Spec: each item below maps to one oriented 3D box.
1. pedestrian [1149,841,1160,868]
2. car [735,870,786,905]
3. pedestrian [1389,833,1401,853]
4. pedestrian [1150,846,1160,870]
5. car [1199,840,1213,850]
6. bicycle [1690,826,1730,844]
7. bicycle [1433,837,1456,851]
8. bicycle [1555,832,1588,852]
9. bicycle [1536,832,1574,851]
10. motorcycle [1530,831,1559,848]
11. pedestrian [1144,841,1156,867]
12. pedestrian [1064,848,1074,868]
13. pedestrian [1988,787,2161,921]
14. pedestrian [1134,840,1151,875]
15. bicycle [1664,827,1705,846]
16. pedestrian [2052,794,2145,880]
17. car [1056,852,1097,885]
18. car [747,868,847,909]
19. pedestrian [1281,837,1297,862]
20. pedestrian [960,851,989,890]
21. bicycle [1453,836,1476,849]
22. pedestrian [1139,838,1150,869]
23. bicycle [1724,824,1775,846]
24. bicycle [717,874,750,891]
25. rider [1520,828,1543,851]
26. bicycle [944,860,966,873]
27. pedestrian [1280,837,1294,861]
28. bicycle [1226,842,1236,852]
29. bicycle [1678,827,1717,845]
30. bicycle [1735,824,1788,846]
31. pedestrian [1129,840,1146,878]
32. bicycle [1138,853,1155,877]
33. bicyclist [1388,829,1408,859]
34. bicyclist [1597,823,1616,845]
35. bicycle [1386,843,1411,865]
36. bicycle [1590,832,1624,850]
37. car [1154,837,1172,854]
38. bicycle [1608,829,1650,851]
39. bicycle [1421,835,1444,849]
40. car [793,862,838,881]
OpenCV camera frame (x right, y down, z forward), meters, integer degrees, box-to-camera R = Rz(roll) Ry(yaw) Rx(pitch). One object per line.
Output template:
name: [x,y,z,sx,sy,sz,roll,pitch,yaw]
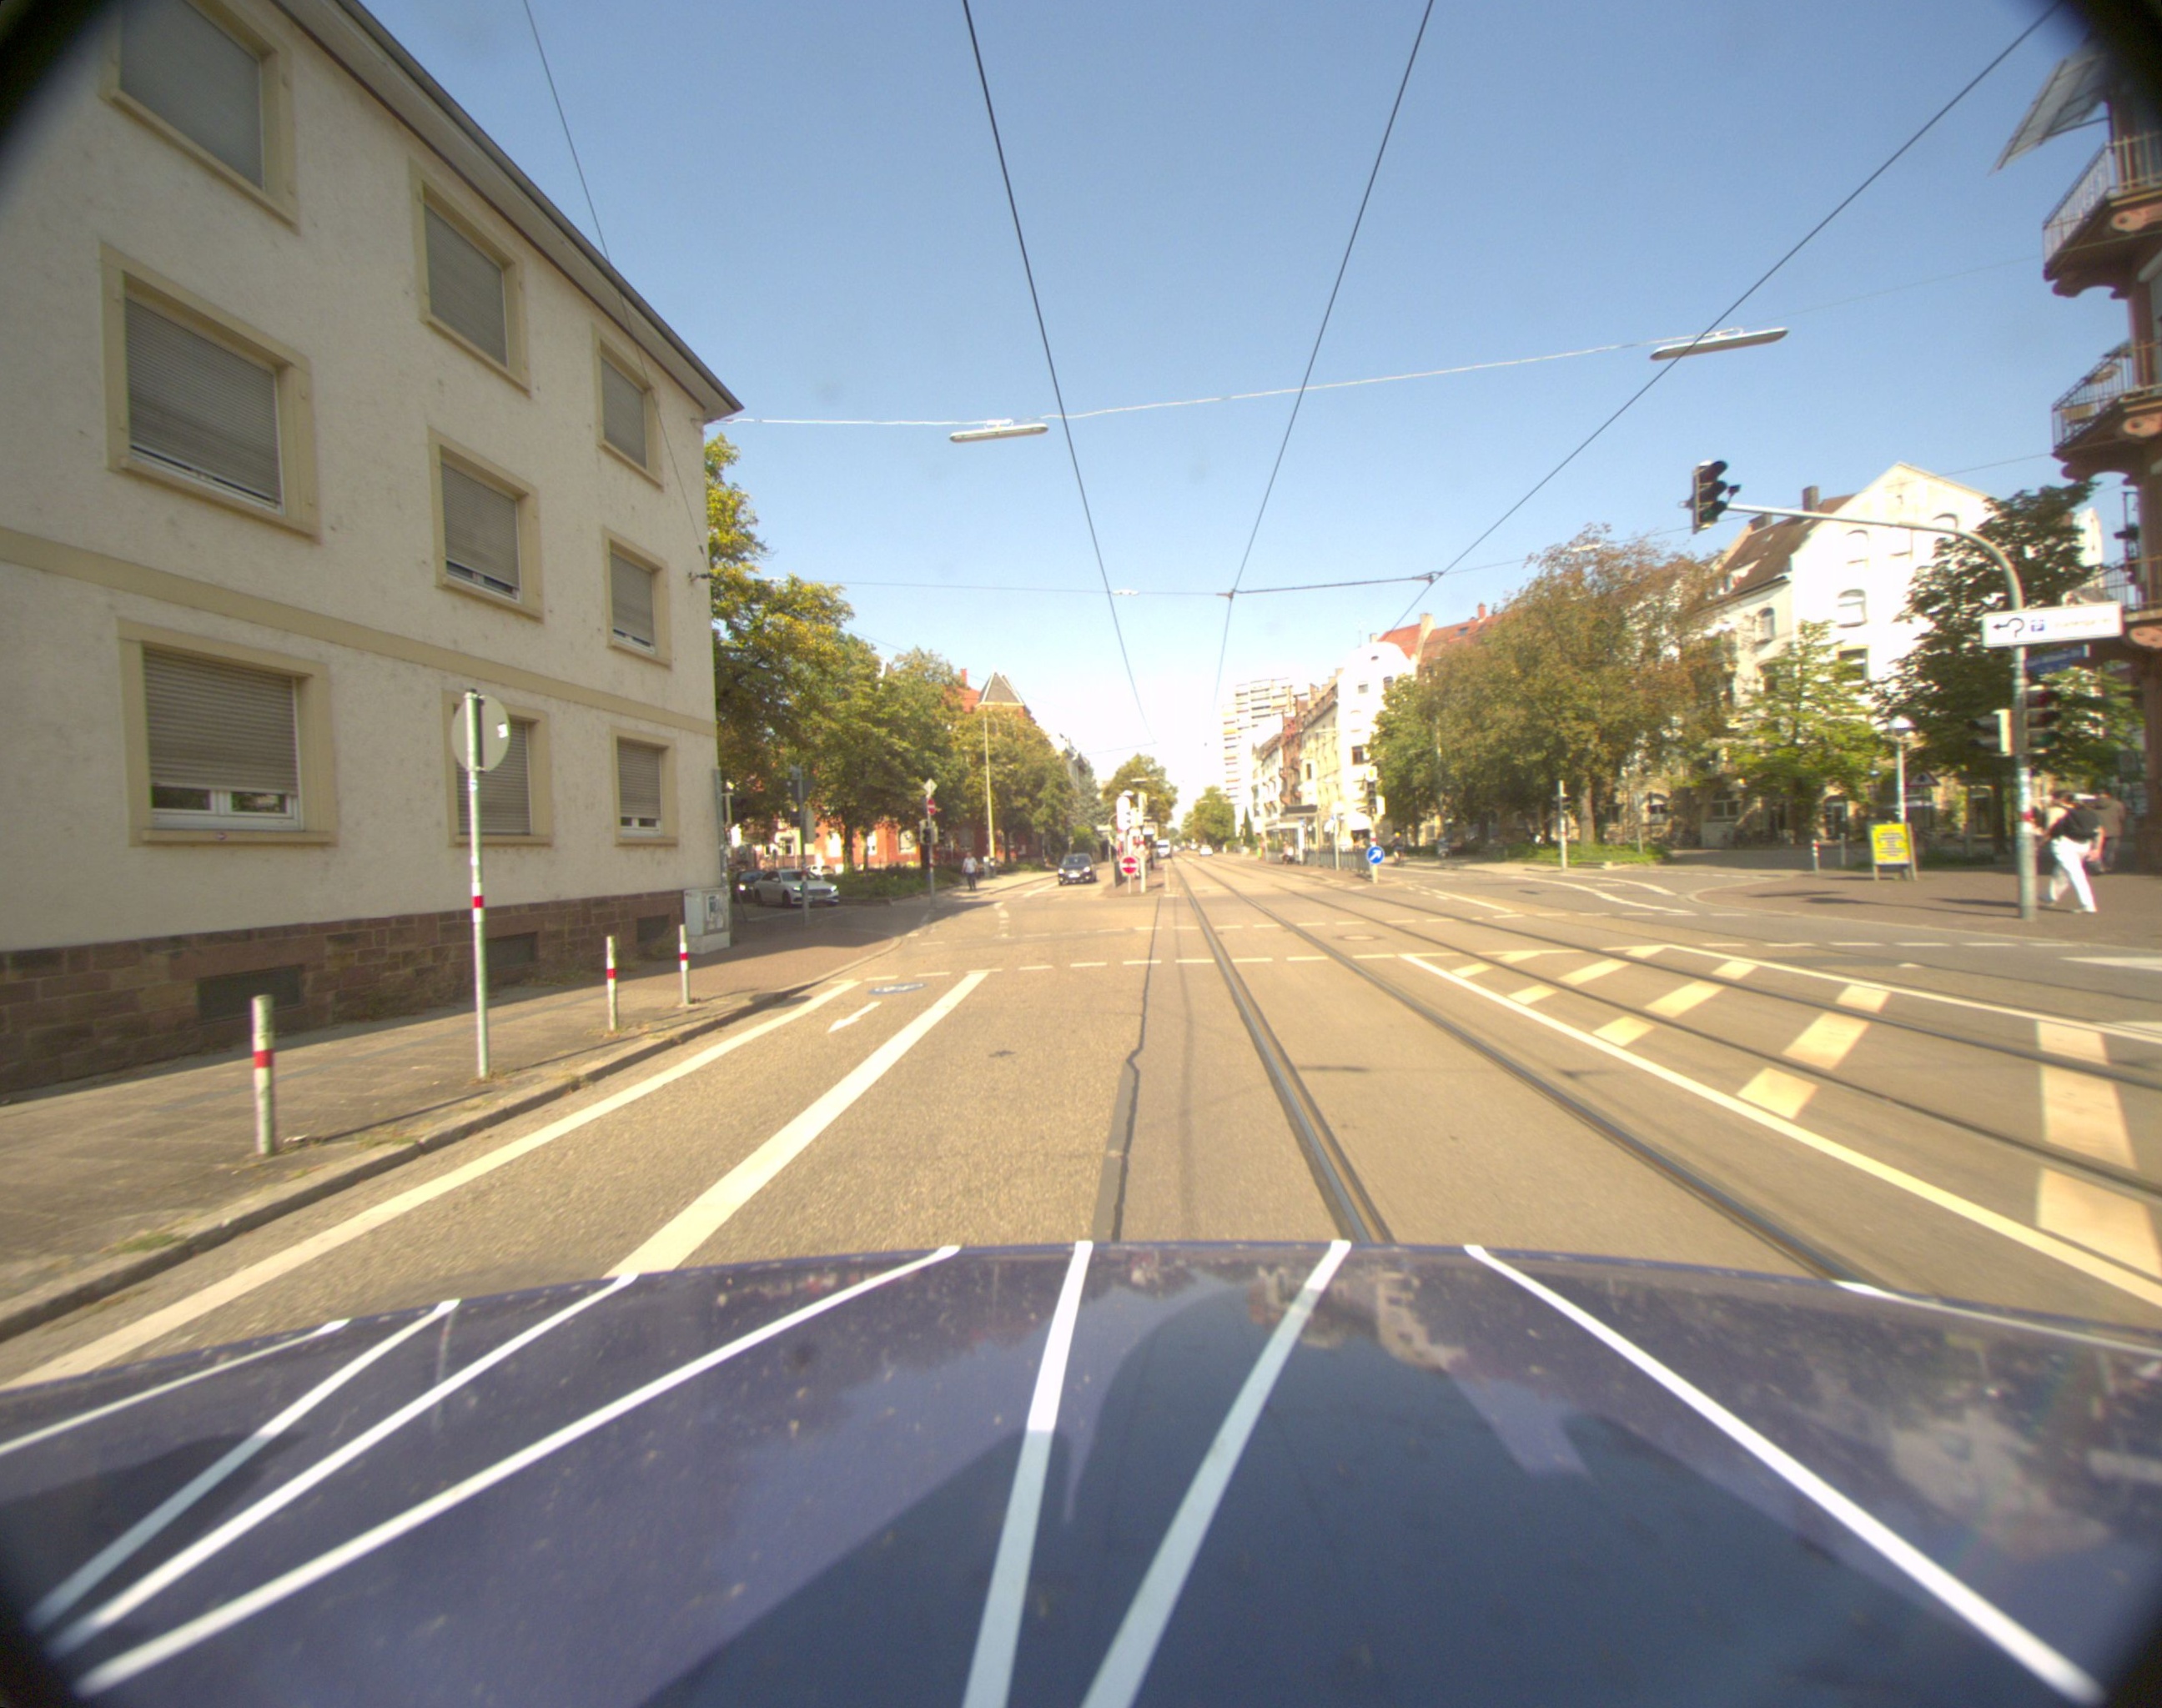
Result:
pedestrian: [4.773,0.006,49.212,0.590,1.711,0.607,-3,1,9]
car: [-14.552,1.475,34.385,1.754,1.443,3.881,-1,-1,-28]
pedestrian: [29.303,-1.045,70.887,0.735,1.857,0.673,-3,1,3]
pedestrian: [4.731,0.249,48.583,0.590,1.536,0.607,-3,1,9]
car: [19.483,-1.330,118.332,1.732,1.426,3.923,-3,0,5]
bicycle: [39.045,-1.161,47.182,0.656,1.097,2.334,-3,0,4]
bicycle: [31.258,-0.896,65.336,2.345,1.073,0.695,-4,2,-36]
bicycle: [36.470,-0.897,56.496,2.305,1.363,0.866,-3,1,-22]
bicycle: [36.018,-0.962,57.765,2.302,1.363,0.867,-3,1,-4]
motorcycle: [35.789,-1.137,58.668,1.884,1.170,0.677,-4,1,-8]
pedestrian: [4.597,0.002,50.649,0.638,1.738,0.634,-3,1,9]
pedestrian: [-1.073,0.311,66.555,0.542,1.708,0.662,-2,1,22]
pedestrian: [14.065,-0.003,10.809,0.906,1.756,1.186,-3,1,10]
pedestrian: [3.178,0.157,39.205,0.769,1.750,0.681,-3,1,5]
bicycle: [37.516,-1.064,47.248,0.773,1.097,2.334,-3,0,4]
pedestrian: [19.409,-0.319,14.517,0.840,1.562,0.947,-2,1,40]
car: [-0.189,0.679,37.586,1.775,1.459,4.000,-4,0,2]
car: [-11.067,1.287,29.374,1.880,1.460,4.941,0,-1,-43]
pedestrian: [12.485,-0.256,45.664,0.794,1.448,0.718,-3,1,7]
pedestrian: [-4.760,0.728,34.062,1.079,1.715,0.970,0,1,5]
bicycle: [32.485,-0.983,64.321,2.345,1.073,0.695,-3,1,-36]
pedestrian: [3.614,-0.014,43.233,0.553,1.750,0.533,-3,1,5]
bicycle: [38.054,-1.088,43.289,2.089,1.097,0.657,-3,1,14]
bicycle: [-23.646,1.953,51.715,1.869,1.052,0.608,-3,1,-3]
rider: [31.111,-0.981,52.490,0.996,1.503,1.115,-4,1,10]
bicycle: [-11.518,1.176,69.648,1.842,1.052,0.607,-5,-1,-42]
pedestrian: [12.658,-0.301,46.806,0.678,1.448,0.718,-3,1,7]
bicycle: [28.237,-1.323,143.130,1.015,1.847,3.555,-5,1,1]
bicycle: [38.277,-1.110,47.204,0.656,1.097,2.334,-3,0,4]
bicycle: [37.760,-1.075,42.171,2.089,1.097,0.657,-3,1,14]
pedestrian: [2.685,0.225,35.863,0.691,1.756,0.796,-3,1,5]
bicycle: [3.106,0.508,35.735,0.473,1.097,1.739,-3,1,15]
bicyclist: [16.985,-0.533,40.714,0.674,1.605,1.045,-3,1,9]
bicyclist: [33.235,-1.270,48.073,0.655,1.352,0.758,-3,1,-3]
bicycle: [17.034,-0.008,40.777,0.685,1.097,2.070,-3,0,9]
bicycle: [33.257,-0.812,48.067,0.655,1.097,2.072,-3,0,-3]
car: [11.756,-1.259,108.457,2.086,2.264,4.830,-3,0,10]
bicycle: [37.624,-0.956,52.155,2.302,1.363,0.867,-3,1,-6]
bicycle: [30.749,-1.022,66.443,2.345,1.073,0.695,-4,1,-36]
car: [-24.945,1.633,71.301,3.990,1.558,1.625,-3,0,28]
